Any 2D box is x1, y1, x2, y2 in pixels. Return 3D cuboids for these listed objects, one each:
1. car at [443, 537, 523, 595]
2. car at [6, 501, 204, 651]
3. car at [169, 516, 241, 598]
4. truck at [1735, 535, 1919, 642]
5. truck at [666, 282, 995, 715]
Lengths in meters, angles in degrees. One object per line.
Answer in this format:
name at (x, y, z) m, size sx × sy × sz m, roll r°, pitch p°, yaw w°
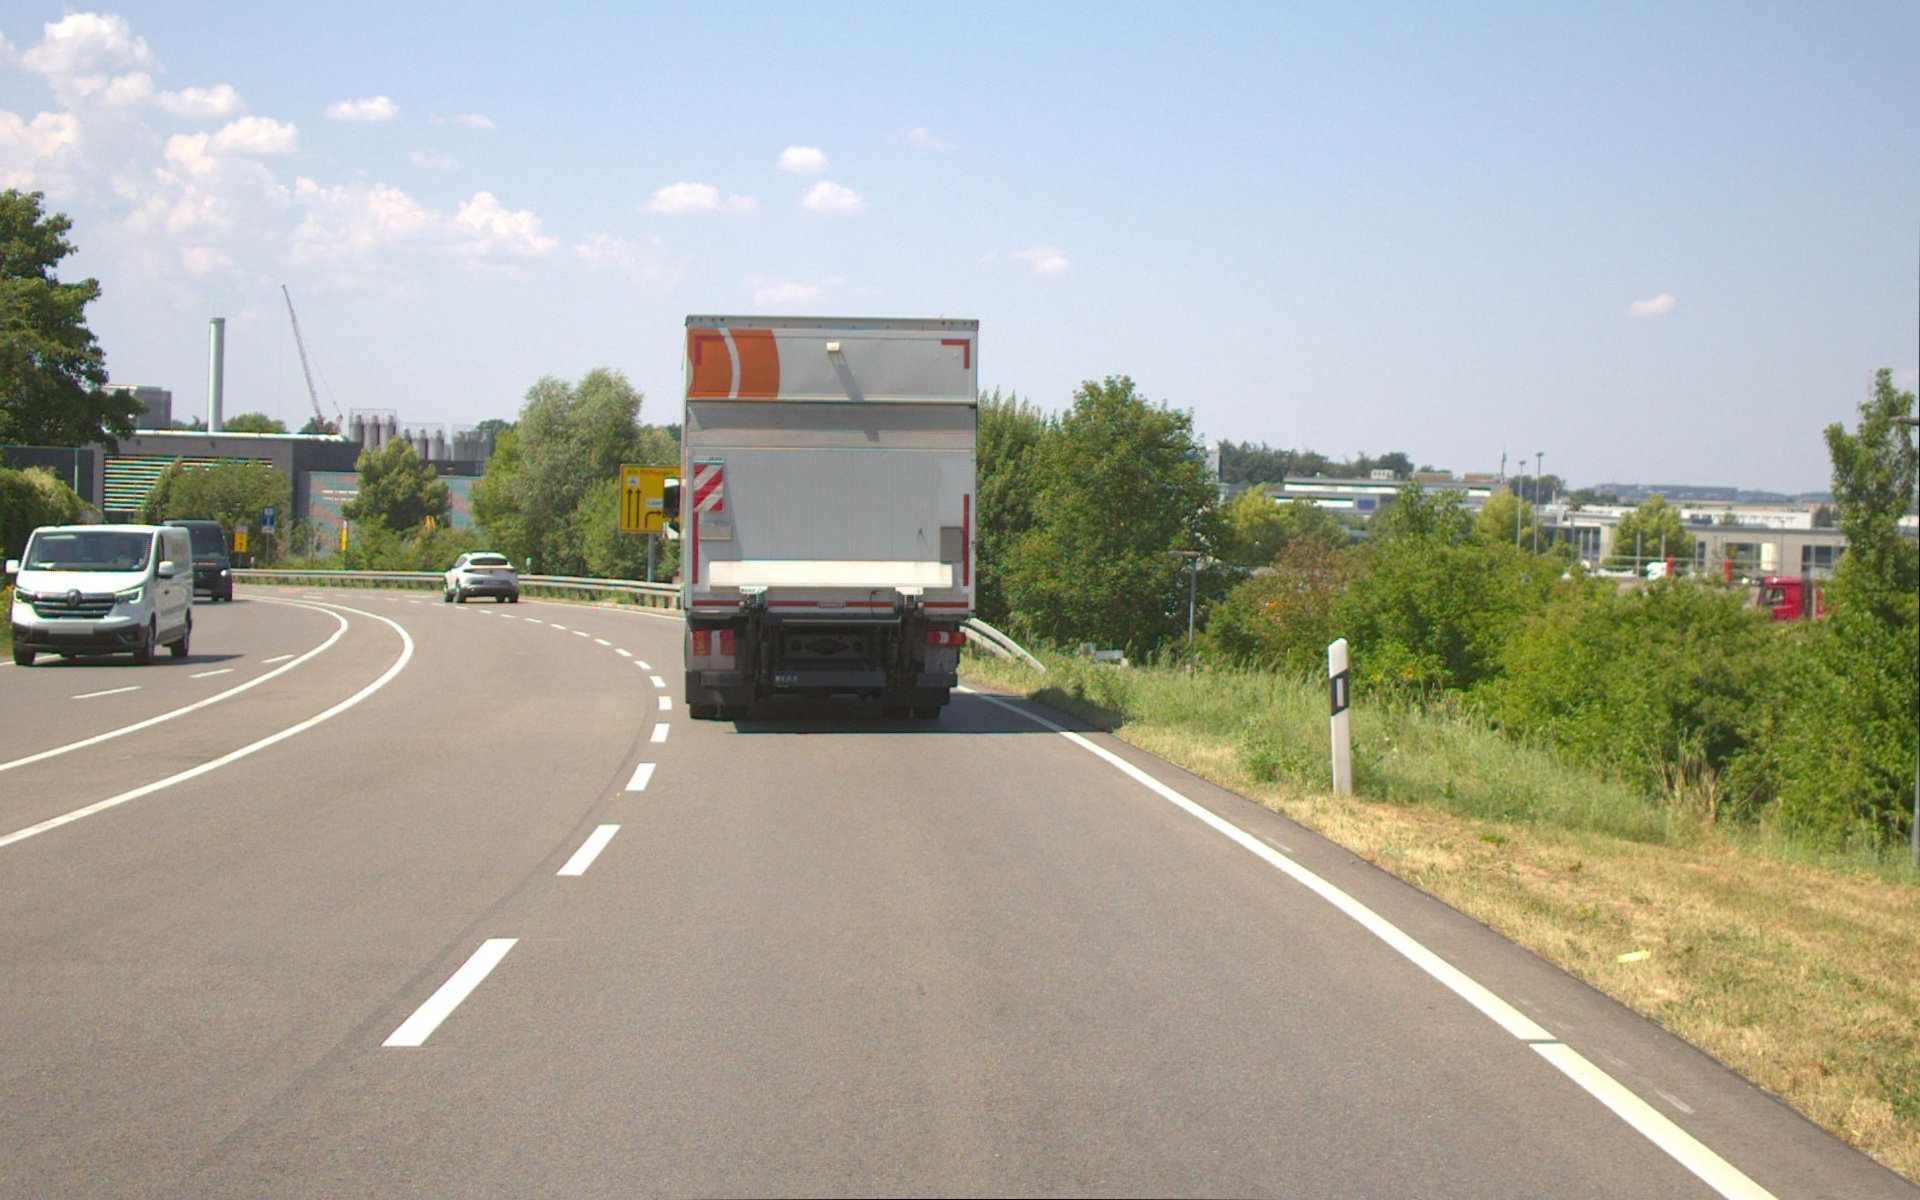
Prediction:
car at (-14.443, -1.024, 104.021) m, size 1.943 × 1.658 × 4.001 m, roll 2°, pitch 0°, yaw -14°
car at (-12.150, -0.394, 49.210) m, size 2.075 × 2.007 × 5.809 m, roll 0°, pitch 1°, yaw -7°
car at (-24.207, -1.399, 110.210) m, size 2.187 × 2.532 × 6.039 m, roll 0°, pitch 1°, yaw -12°
truck at (34.716, -0.412, 131.213) m, size 9.403 × 3.671 × 3.126 m, roll 3°, pitch 3°, yaw 28°
truck at (-1.497, -0.990, 33.998) m, size 2.803 × 3.698 × 9.110 m, roll 0°, pitch 2°, yaw -5°
